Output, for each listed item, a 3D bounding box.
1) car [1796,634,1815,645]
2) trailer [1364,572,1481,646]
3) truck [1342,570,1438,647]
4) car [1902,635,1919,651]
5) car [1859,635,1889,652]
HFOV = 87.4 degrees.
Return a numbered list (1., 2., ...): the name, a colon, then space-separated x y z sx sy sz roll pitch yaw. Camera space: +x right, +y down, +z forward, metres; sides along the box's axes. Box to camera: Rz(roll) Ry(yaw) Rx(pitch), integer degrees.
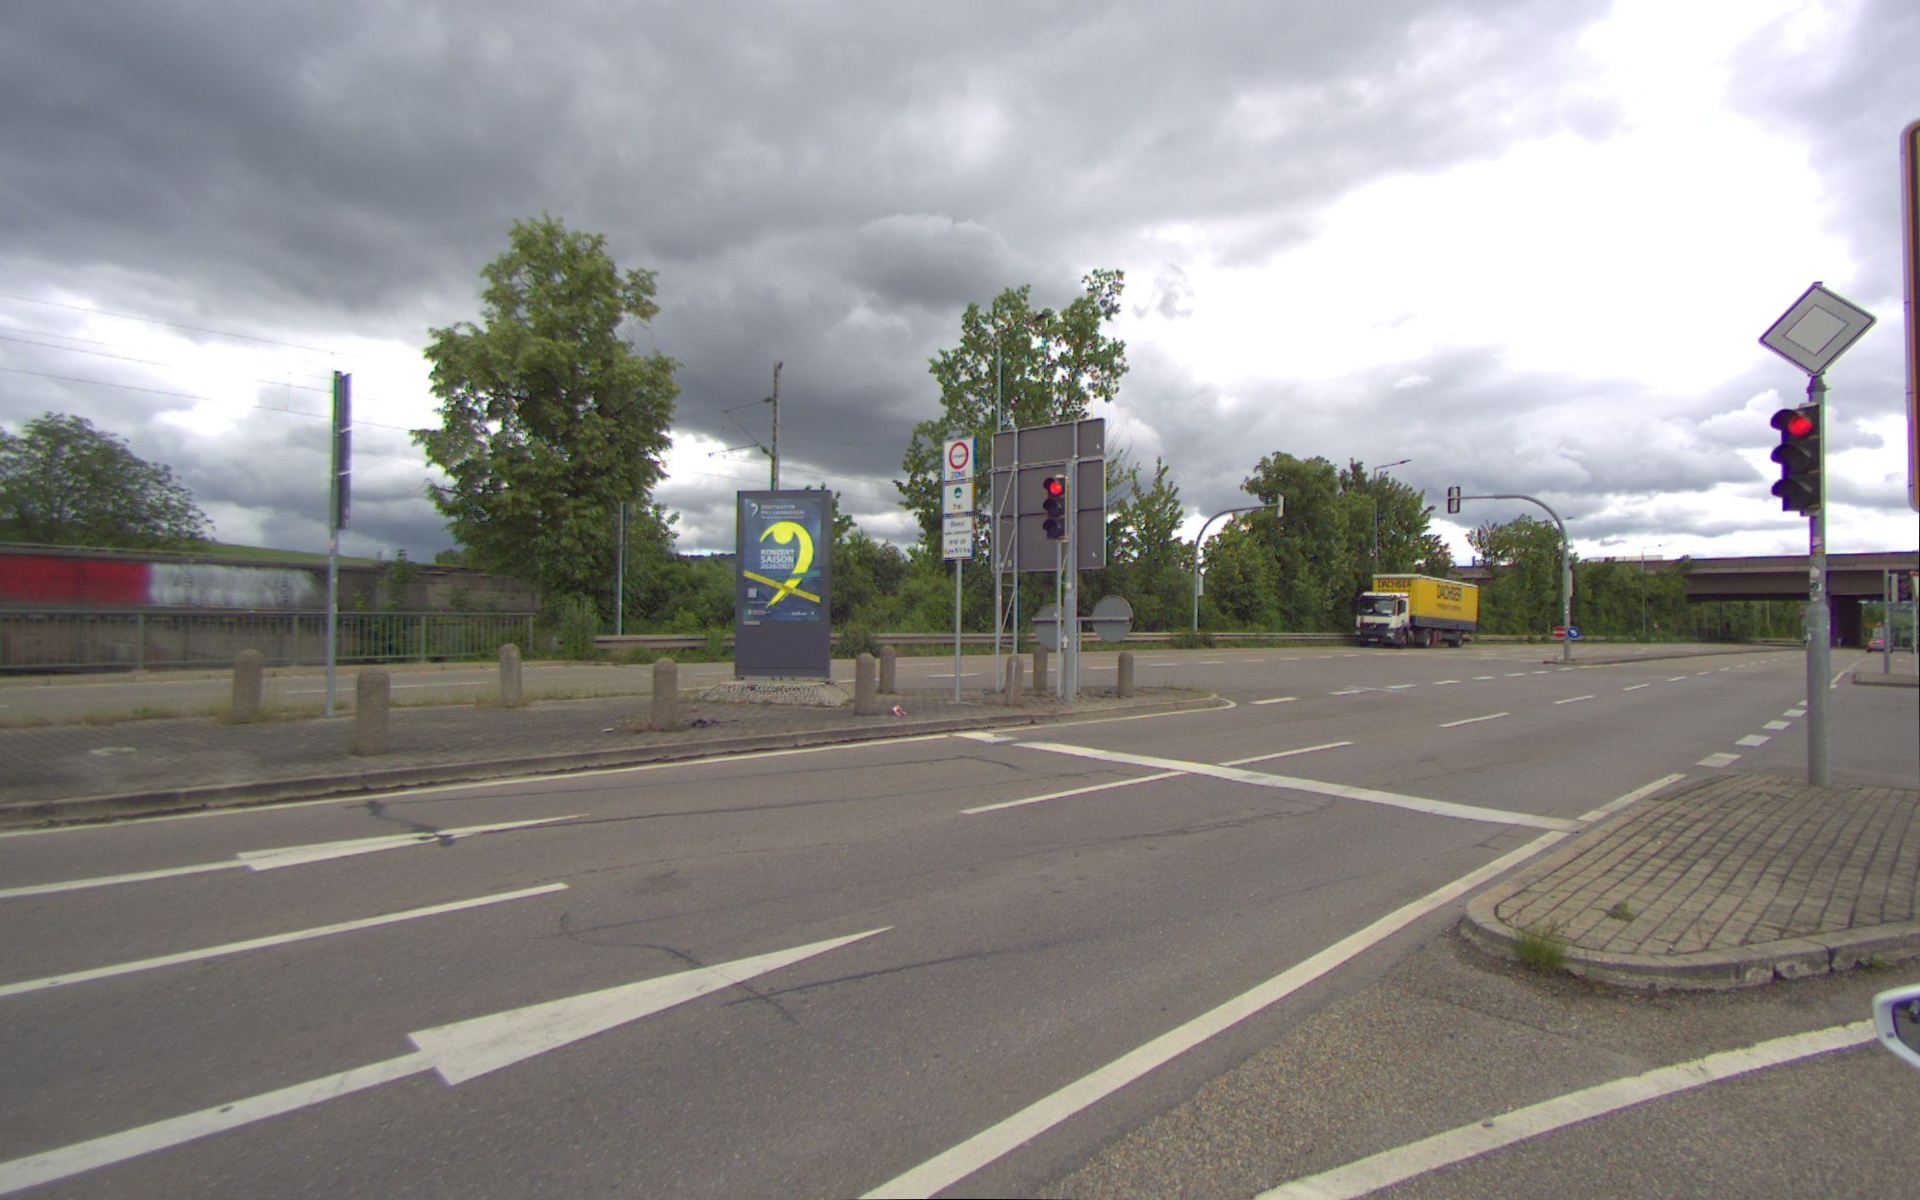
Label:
1. car: 134.958 6.286 160.347 3.840 1.402 1.845 -1 4 -43
2. trailer: 28.688 0.575 61.923 2.841 4.139 11.357 3 1 44
3. truck: 24.861 0.484 57.958 2.842 4.139 6.446 3 1 45
4. car: 92.980 4.209 97.531 1.970 1.483 4.090 2 -2 41
5. car: 87.732 4.179 96.388 1.973 1.461 4.086 1 -2 44
